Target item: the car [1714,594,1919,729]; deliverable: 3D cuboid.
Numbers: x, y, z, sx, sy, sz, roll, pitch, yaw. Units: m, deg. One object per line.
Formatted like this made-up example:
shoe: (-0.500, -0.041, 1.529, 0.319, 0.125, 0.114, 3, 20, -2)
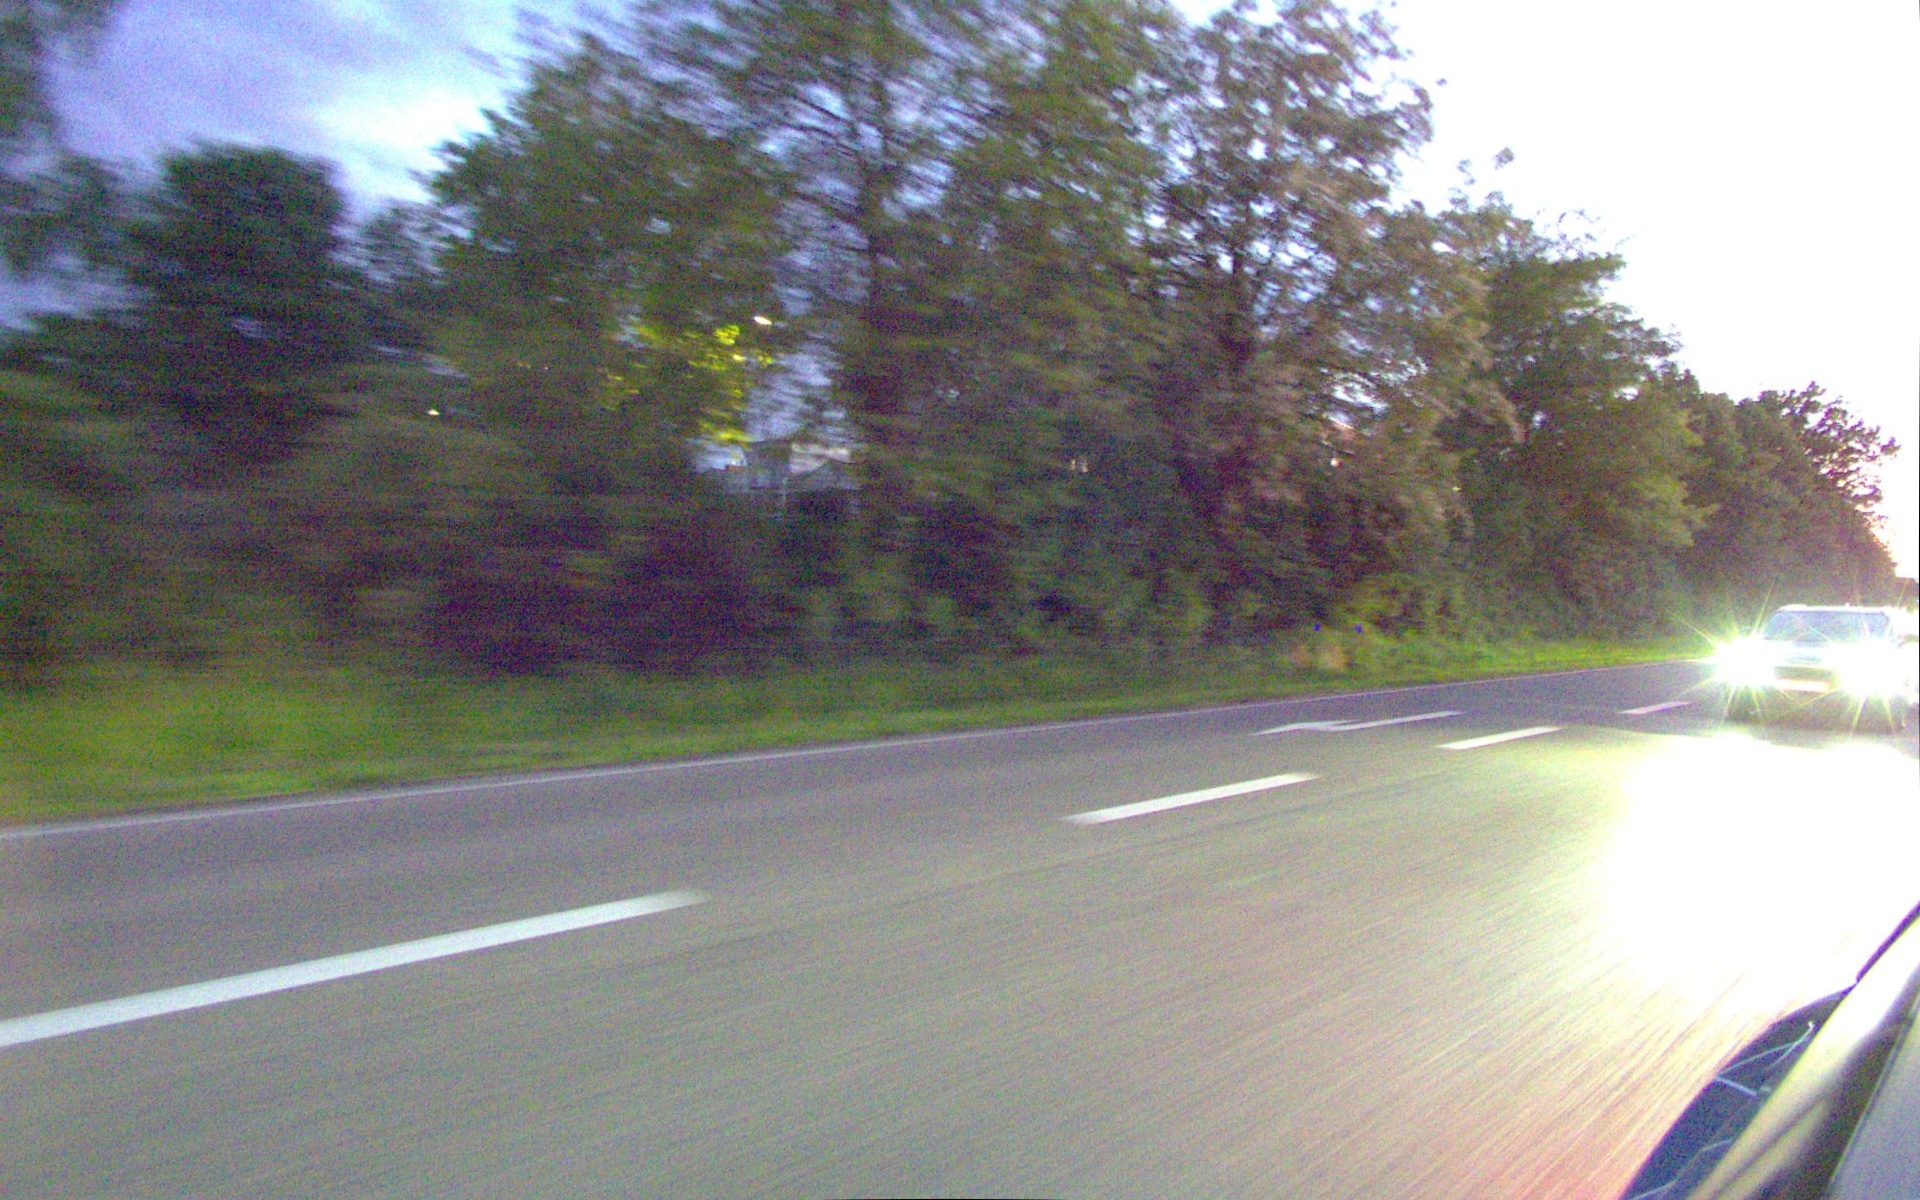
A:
car: (12.696, 0.764, 14.601, 4.629, 1.630, 1.997, 1, 0, -41)
